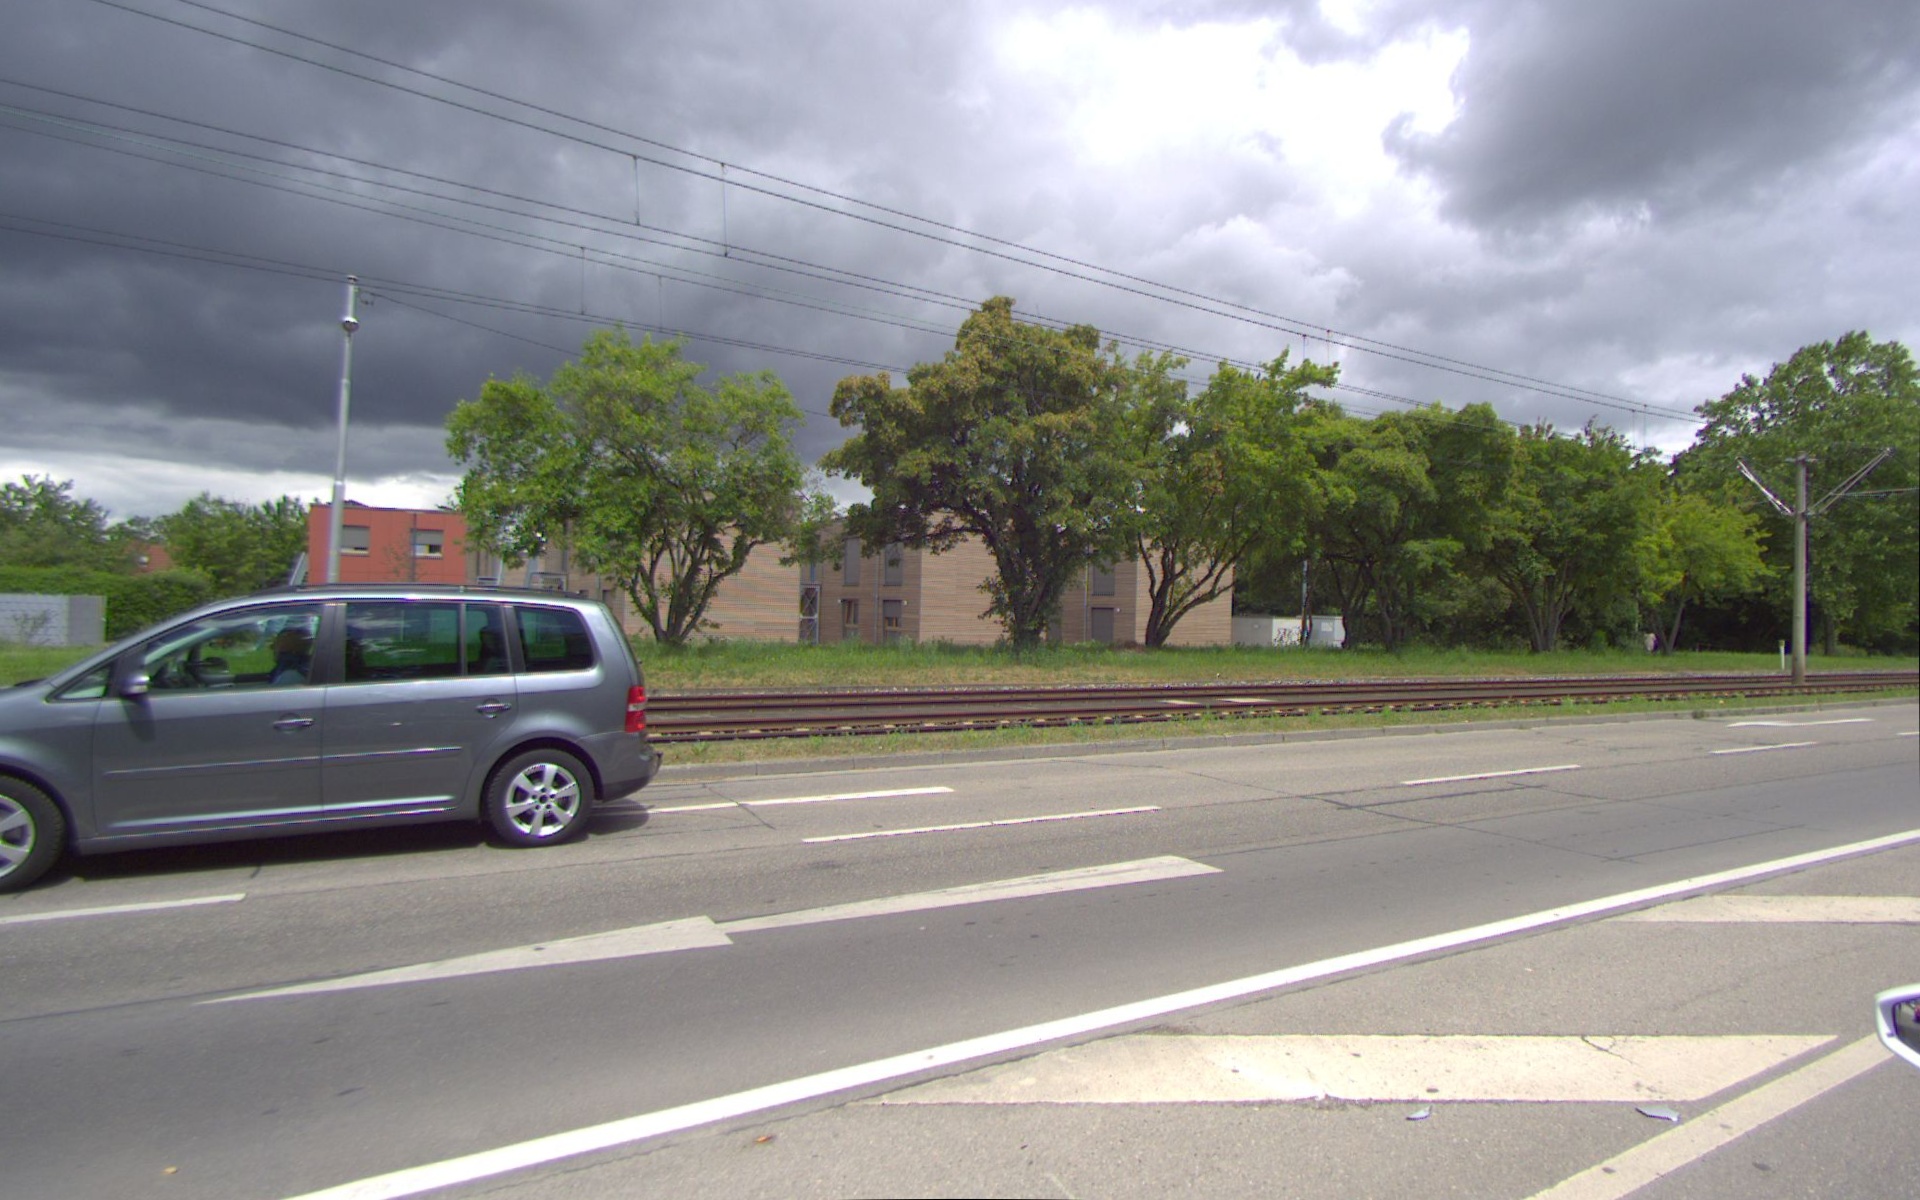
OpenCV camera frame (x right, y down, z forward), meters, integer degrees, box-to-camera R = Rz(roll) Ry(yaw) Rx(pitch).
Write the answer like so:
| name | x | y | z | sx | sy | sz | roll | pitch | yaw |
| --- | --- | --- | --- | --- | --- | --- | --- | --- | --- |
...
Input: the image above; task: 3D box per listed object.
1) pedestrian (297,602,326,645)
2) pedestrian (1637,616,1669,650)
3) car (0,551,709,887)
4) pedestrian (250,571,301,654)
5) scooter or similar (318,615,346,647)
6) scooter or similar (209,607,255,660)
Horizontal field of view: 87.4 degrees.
| name | x | y | z | sx | sy | sz | roll | pitch | yaw |
| --- | --- | --- | --- | --- | --- | --- | --- | --- | --- |
| pedestrian | -22.500 | 0.817 | 34.848 | 0.484 | 1.460 | 0.655 | 2 | -1 | 32 |
| pedestrian | 40.691 | 1.929 | 59.006 | 1.347 | 1.959 | 1.029 | 2 | 0 | -30 |
| car | -4.132 | 0.645 | 6.538 | 4.467 | 1.682 | 1.985 | 3 | -1 | -29 |
| pedestrian | -14.710 | 0.275 | 21.602 | 0.790 | 1.746 | 0.488 | 2 | -1 | -30 |
| scooter or similar | -22.166 | 1.102 | 35.453 | 0.375 | 1.090 | 0.716 | 2 | -1 | 30 |
| scooter or similar | -15.390 | 0.704 | 21.234 | 0.709 | 1.090 | 0.378 | 3 | -1 | -31 |
